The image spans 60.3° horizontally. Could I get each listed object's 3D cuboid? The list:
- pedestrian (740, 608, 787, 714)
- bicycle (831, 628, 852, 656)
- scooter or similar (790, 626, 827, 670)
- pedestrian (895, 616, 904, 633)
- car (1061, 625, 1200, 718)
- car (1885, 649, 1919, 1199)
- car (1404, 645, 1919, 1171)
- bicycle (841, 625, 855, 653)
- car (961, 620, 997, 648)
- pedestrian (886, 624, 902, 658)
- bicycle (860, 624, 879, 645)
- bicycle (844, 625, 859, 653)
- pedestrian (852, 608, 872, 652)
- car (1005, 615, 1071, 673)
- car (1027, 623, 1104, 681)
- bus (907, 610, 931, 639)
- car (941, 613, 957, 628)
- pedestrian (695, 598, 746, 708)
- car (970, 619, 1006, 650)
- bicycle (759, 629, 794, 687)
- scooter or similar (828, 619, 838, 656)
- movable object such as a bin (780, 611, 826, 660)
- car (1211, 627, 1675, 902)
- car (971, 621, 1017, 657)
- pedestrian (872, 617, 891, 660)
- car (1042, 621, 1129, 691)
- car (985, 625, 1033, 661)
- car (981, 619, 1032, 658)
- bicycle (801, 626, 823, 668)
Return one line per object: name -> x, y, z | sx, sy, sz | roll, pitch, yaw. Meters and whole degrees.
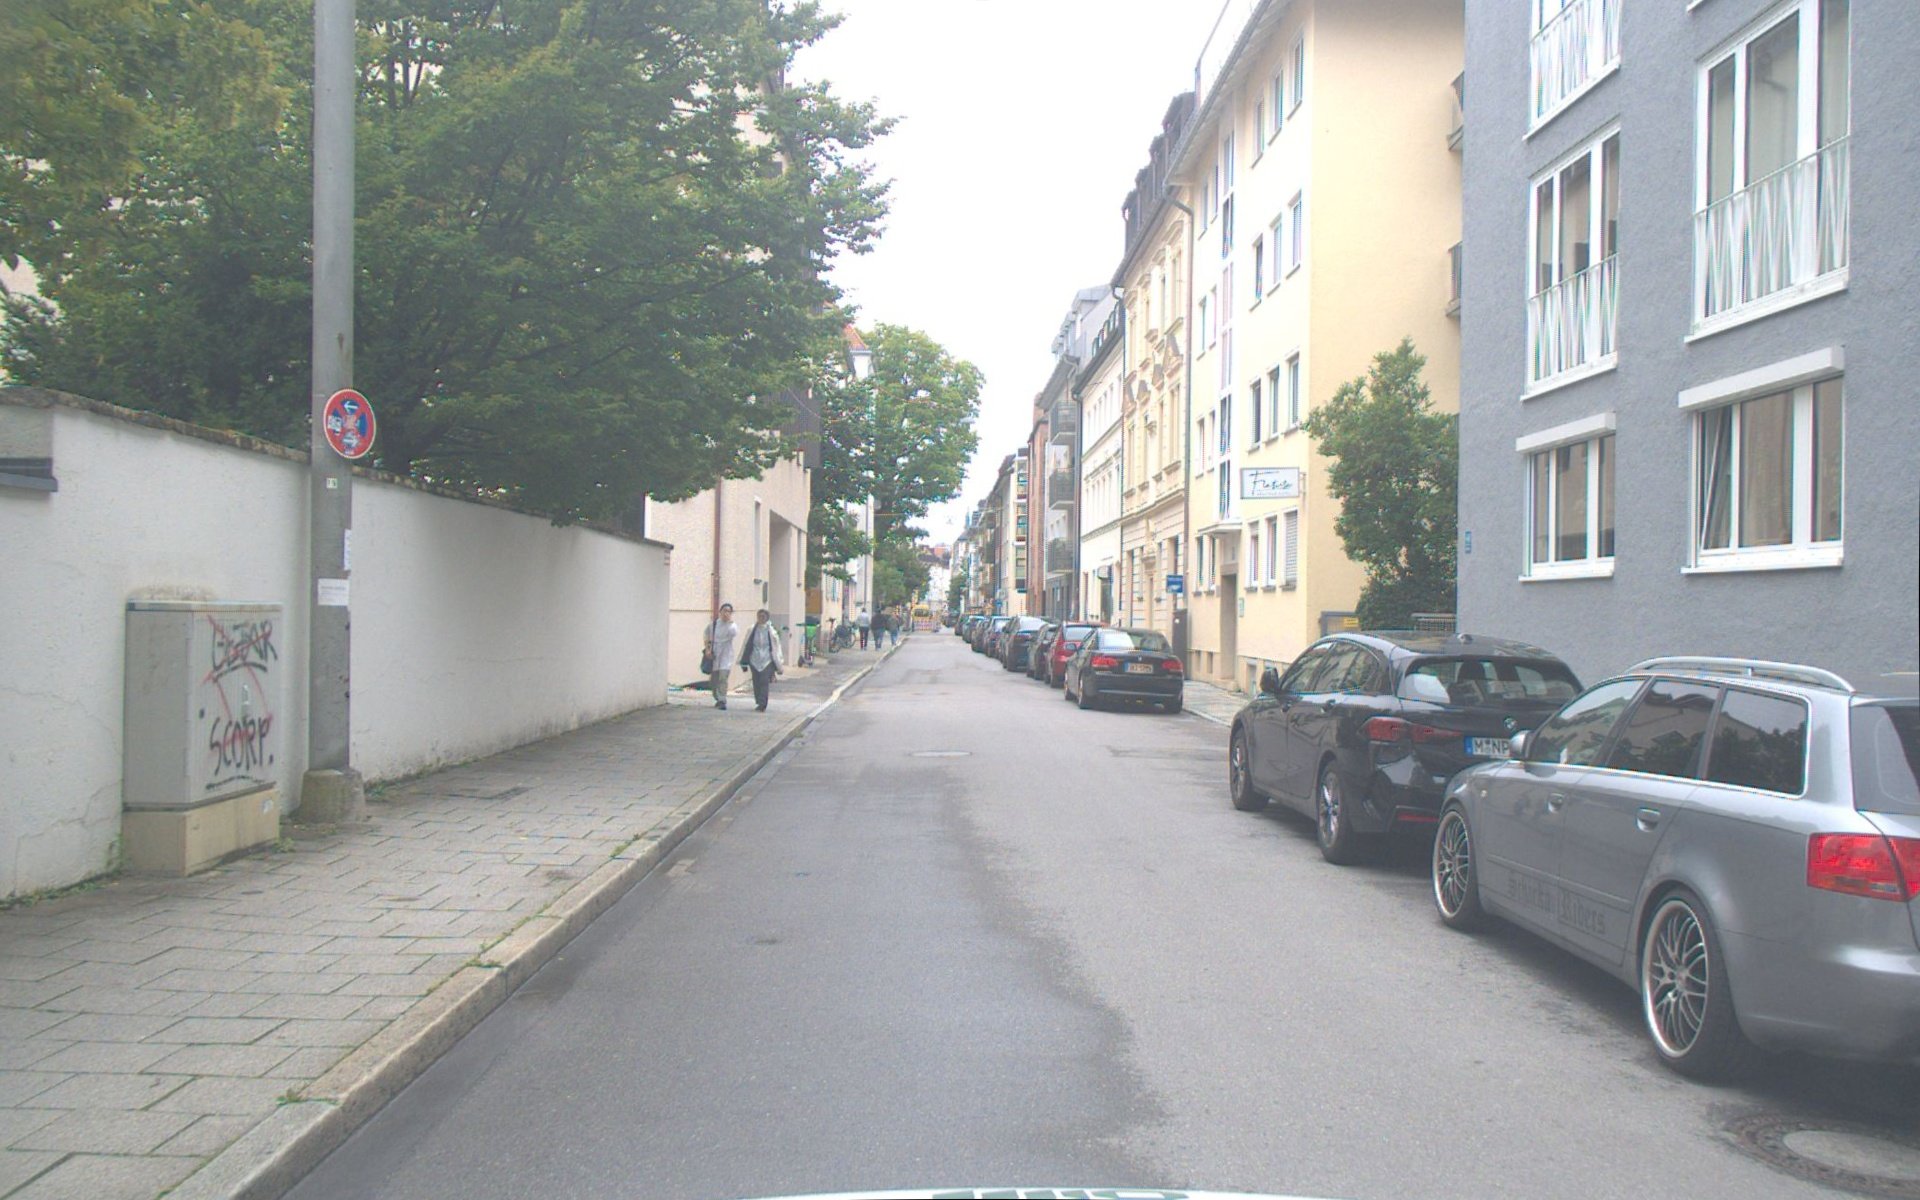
pedestrian -> -3.053, 0.944, 25.766 | 0.610, 1.606, 0.713 | 2, -1, -2
bicycle -> -4.549, 1.622, 63.469 | 0.690, 1.001, 1.820 | 5, -1, -5
scooter or similar -> -4.238, 1.348, 46.347 | 0.540, 1.164, 1.359 | 3, -1, 15
pedestrian -> -5.308, 2.121, 144.538 | 0.740, 1.517, 0.831 | 0, -1, -1
car -> 2.916, 1.202, 29.198 | 1.789, 1.358, 4.507 | 4, -1, -2
car -> 3.420, 0.908, 2.317 | 1.733, 1.471, 4.343 | 4, -1, 0
car -> 3.409, 1.002, 7.006 | 1.753, 1.425, 4.484 | 4, -1, 0
bicycle -> -4.846, 1.692, 71.605 | 0.448, 1.180, 1.605 | 3, -1, 0
car -> 1.130, 2.026, 100.058 | 1.848, 1.583, 4.388 | 1, -1, -3
pedestrian -> -3.327, 2.076, 83.630 | 0.738, 1.688, 0.906 | 3, -1, -1
bicycle -> -5.276, 2.016, 96.273 | 0.632, 1.239, 1.655 | 0, -1, -20
bicycle -> -4.802, 1.728, 73.321 | 0.551, 1.180, 1.718 | 1, -1, -7
pedestrian -> -4.154, 1.255, 70.250 | 0.704, 1.828, 0.916 | 2, -1, -1
car -> 2.314, 1.303, 49.990 | 1.667, 1.635, 4.683 | 1, -1, -1
car -> 2.721, 1.318, 43.251 | 1.642, 1.417, 4.064 | 1, -1, -1
bus -> -4.474, 2.747, 182.339 | 2.540, 3.156, 6.304 | 0, -1, -1
car -> -1.461, 2.656, 214.533 | 1.765, 1.741, 3.824 | 4, -1, -3
pedestrian -> -3.716, 0.822, 25.706 | 0.601, 1.649, 0.687 | 3, -1, -1
car -> 1.465, 1.814, 87.408 | 1.739, 1.583, 3.998 | 1, -1, -1
bicycle -> -3.853, 1.205, 34.781 | 0.527, 1.159, 1.916 | 2, -1, -2
scooter or similar -> -4.740, 1.397, 61.736 | 0.311, 1.400, 1.238 | 0, -1, -1
movable object such as a bin -> -5.104, 1.145, 53.889 | 1.150, 1.467, 1.249 | 6, 1, 5
car -> 3.178, 1.009, 11.864 | 1.804, 1.453, 4.261 | 4, -1, -3
car -> 1.530, 1.742, 75.332 | 1.803, 1.555, 4.290 | 1, -1, -2
pedestrian -> -3.347, 1.634, 70.465 | 0.704, 1.796, 0.838 | 2, -1, -1
car -> 2.893, 1.273, 38.862 | 1.642, 1.518, 3.852 | 1, -1, -1
car -> 1.903, 1.677, 65.536 | 1.771, 1.387, 3.944 | 0, -1, -1
car -> 1.936, 1.617, 70.458 | 1.838, 1.598, 4.313 | -1, -1, -3
bicycle -> -4.324, 1.375, 48.410 | 0.533, 1.181, 1.881 | 2, -1, -3
